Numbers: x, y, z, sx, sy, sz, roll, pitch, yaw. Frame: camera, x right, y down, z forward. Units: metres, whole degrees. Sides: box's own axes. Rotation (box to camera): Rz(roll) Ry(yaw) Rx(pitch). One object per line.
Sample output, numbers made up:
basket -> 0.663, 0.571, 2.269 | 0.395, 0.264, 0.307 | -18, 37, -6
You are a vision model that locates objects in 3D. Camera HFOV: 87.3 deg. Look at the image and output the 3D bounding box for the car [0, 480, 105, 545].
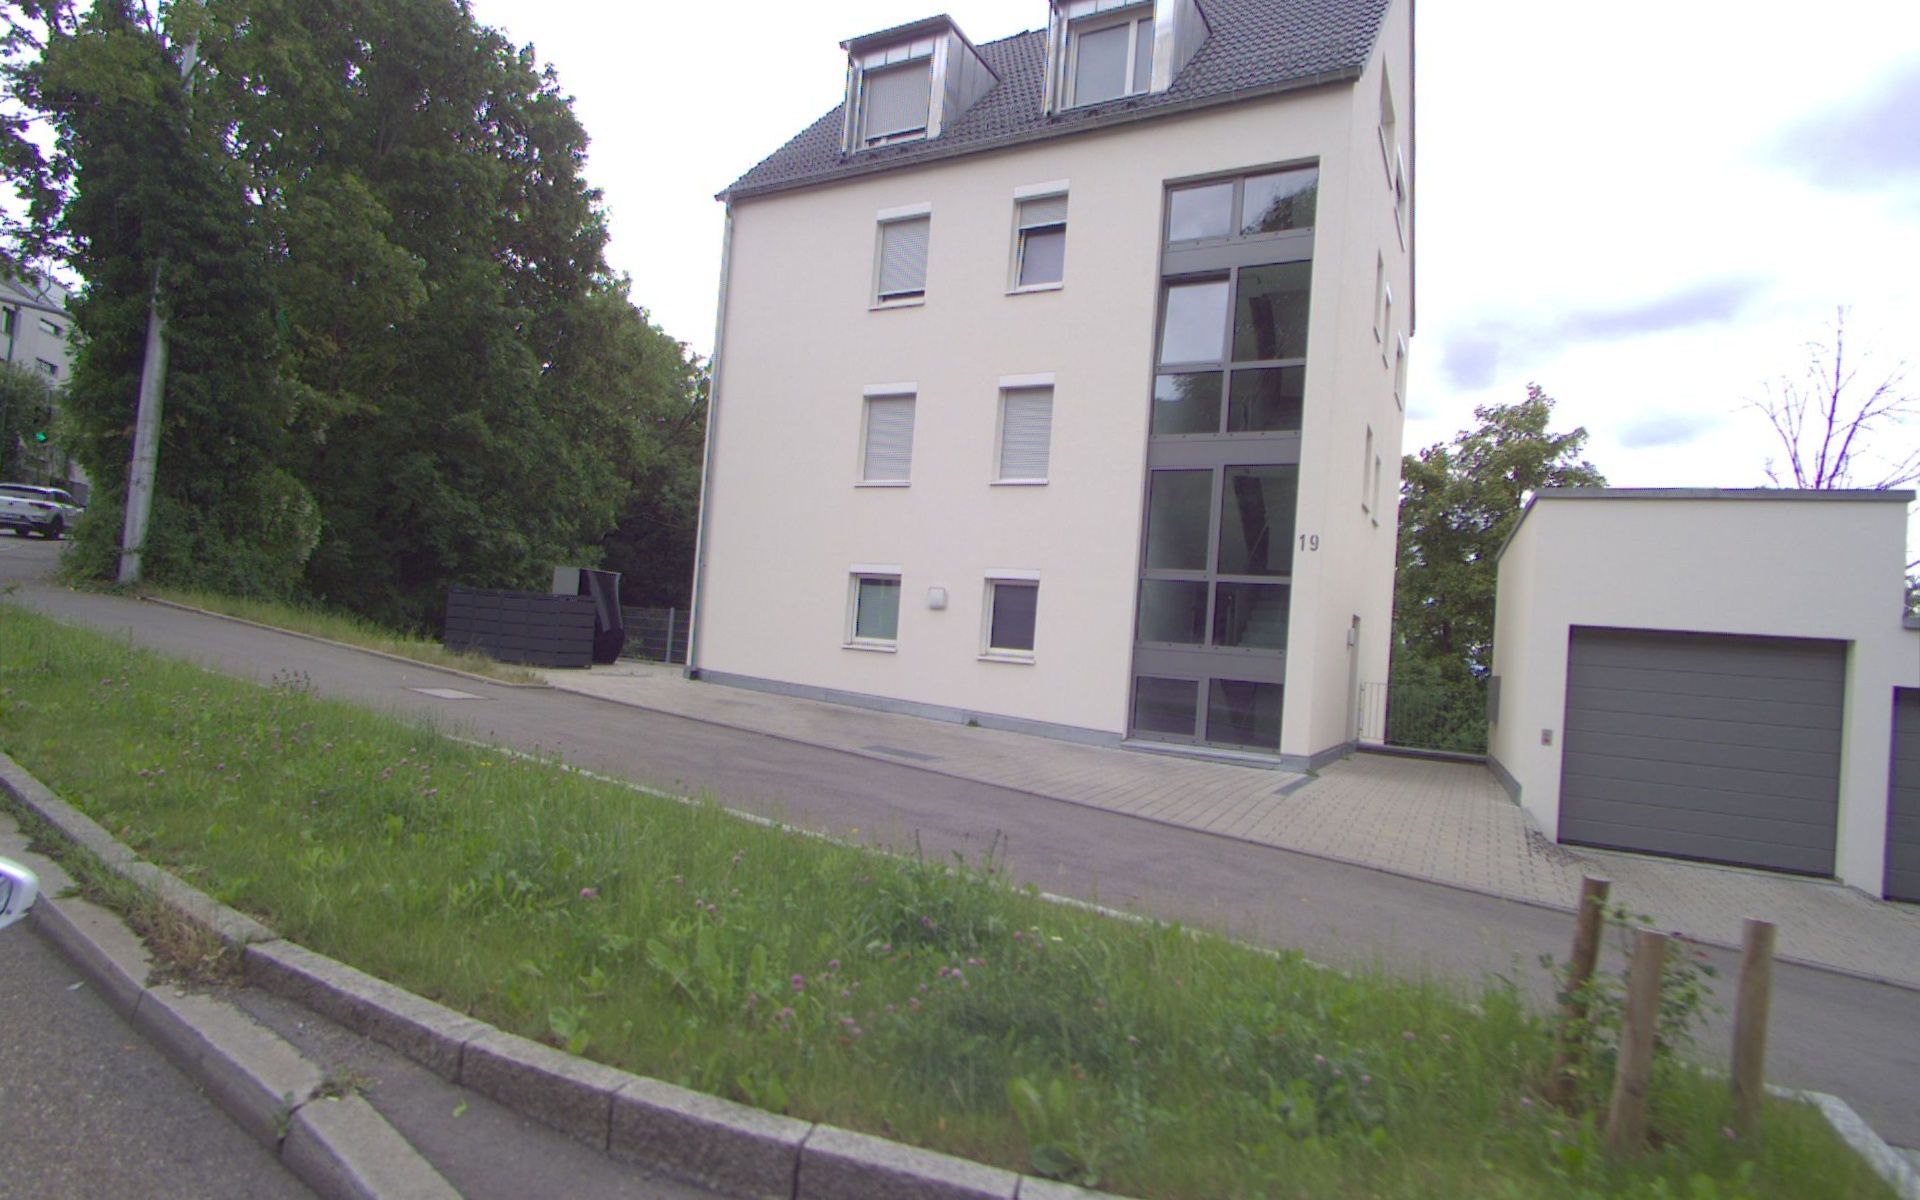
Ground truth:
car -> -28.385, -2.680, 31.099 | 1.764, 1.597, 3.977 | 8, -1, -24
